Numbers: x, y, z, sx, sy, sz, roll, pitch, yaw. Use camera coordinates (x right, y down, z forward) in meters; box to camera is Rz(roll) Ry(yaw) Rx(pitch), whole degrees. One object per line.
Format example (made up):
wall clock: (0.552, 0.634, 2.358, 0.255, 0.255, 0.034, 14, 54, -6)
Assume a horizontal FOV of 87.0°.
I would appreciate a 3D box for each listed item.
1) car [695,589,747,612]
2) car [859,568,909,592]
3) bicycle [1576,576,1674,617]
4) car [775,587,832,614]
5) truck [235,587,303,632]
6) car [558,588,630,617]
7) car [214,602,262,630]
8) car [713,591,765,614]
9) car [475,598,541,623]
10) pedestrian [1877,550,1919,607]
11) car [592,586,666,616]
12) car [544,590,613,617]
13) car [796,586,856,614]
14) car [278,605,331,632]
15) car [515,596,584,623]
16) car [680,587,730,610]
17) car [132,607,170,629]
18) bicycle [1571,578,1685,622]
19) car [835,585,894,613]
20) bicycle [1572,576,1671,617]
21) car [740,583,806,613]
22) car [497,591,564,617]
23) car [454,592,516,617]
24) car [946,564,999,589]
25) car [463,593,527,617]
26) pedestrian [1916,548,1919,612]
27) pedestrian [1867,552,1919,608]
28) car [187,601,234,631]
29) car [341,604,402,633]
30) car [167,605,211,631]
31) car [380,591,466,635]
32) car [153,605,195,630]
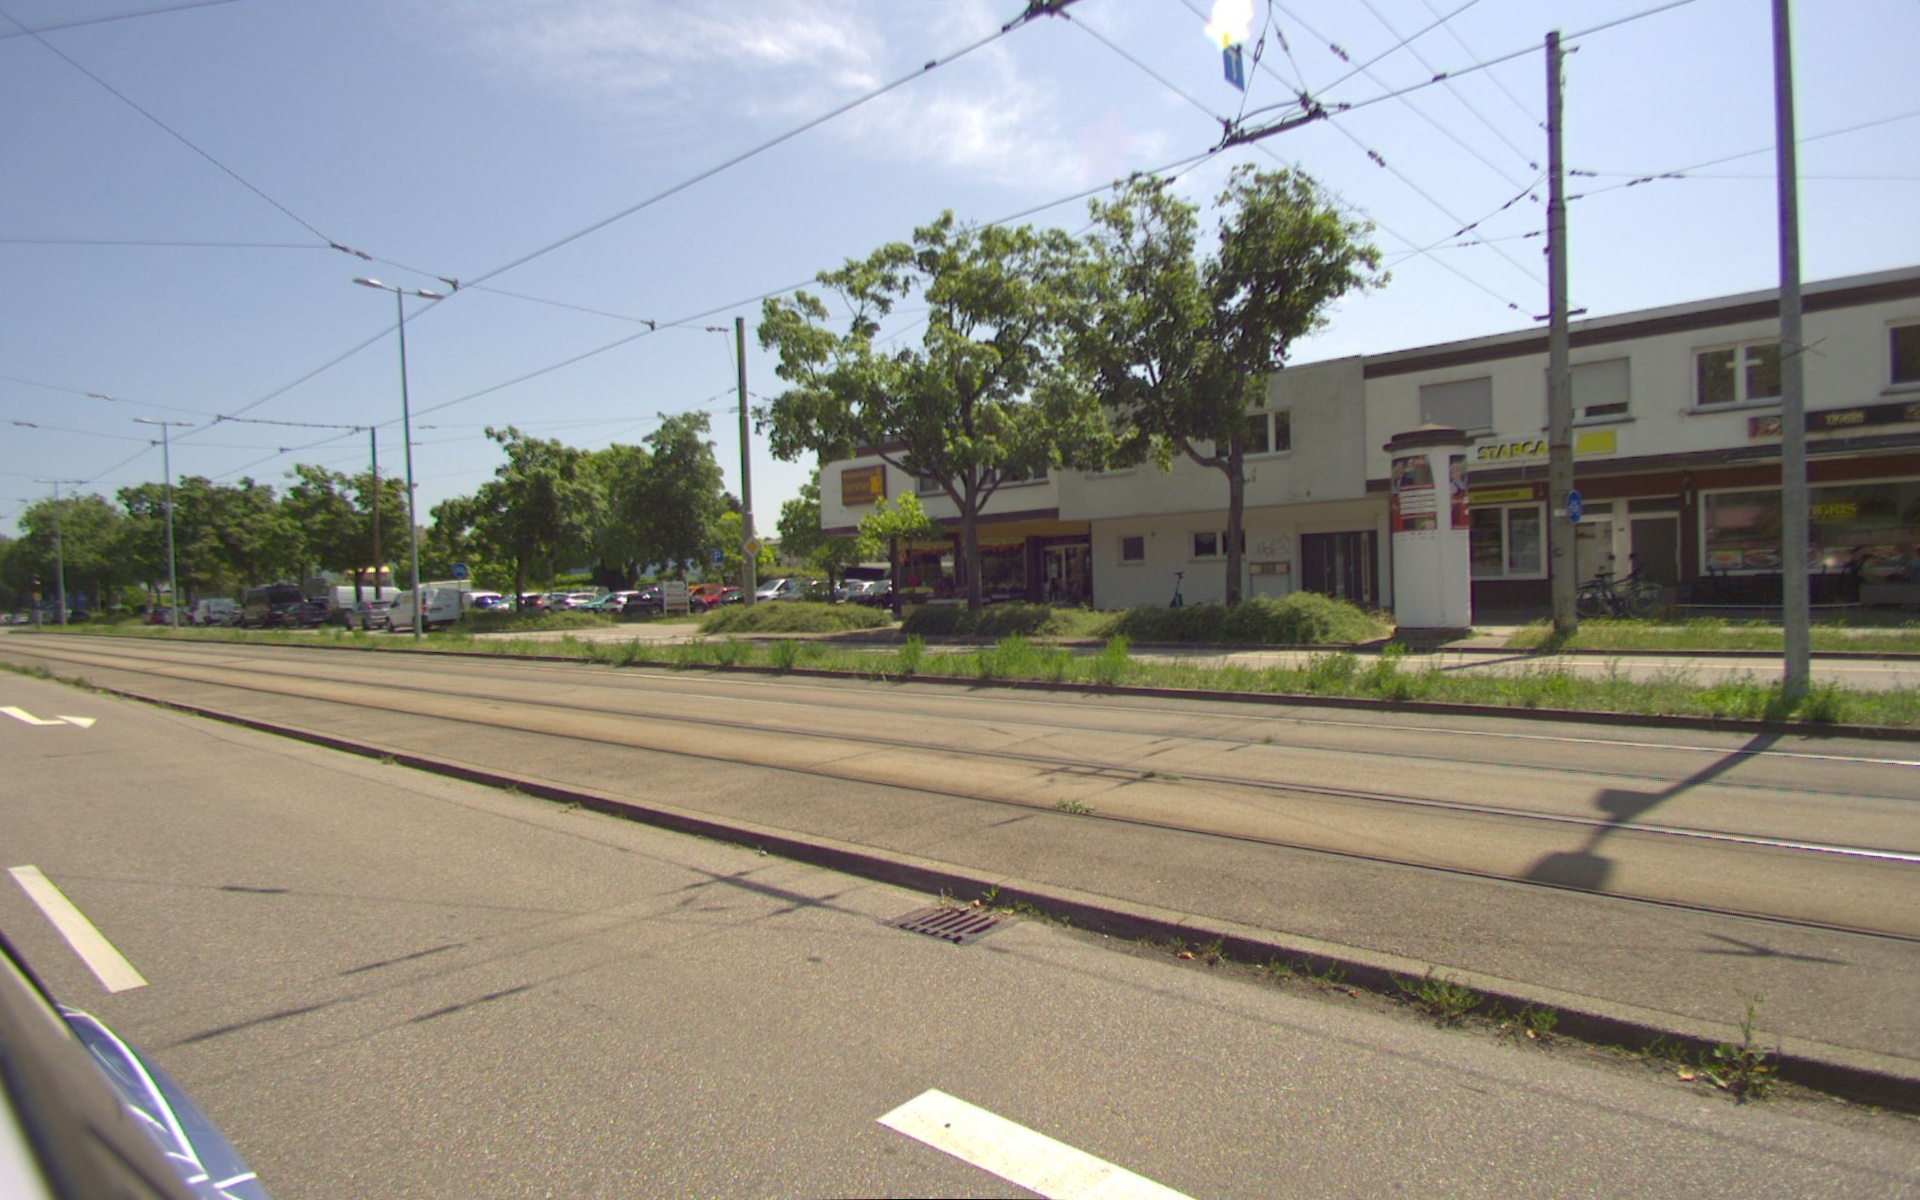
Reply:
car: (-16.833, 0.020, 71.347, 1.504, 1.469, 3.315, -1, 1, 38)
car: (-6.554, -1.740, 87.515, 2.000, 2.029, 3.944, -1, 1, 42)
bicycle: (15.102, -0.072, 23.007, 1.786, 0.854, 0.523, -1, 3, 41)
car: (-9.909, 0.005, 64.133, 1.532, 1.548, 3.450, -1, 1, 38)
truck: (-42.113, 0.599, 61.637, 4.926, 2.560, 2.197, -1, 1, 41)
car: (-20.220, 0.117, 56.000, 1.595, 1.502, 3.375, -1, 1, 35)
car: (-48.213, 1.075, 67.532, 3.866, 1.807, 1.660, -1, 1, 40)
car: (-15.124, 0.151, 69.385, 1.504, 1.400, 3.315, -1, 1, 38)
car: (-27.947, 0.635, 62.656, 1.600, 1.404, 3.375, -1, 1, 35)
pedestrian: (19.838, -0.444, 21.373, 0.674, 1.172, 0.512, -1, 1, 41)
car: (-17.883, 0.059, 54.817, 1.790, 1.502, 3.375, -1, 1, 35)
car: (-21.804, 0.194, 57.892, 1.600, 1.404, 3.375, -1, 1, 35)
car: (-8.169, 0.003, 61.857, 1.622, 1.548, 3.450, -1, 1, 38)
car: (-37.356, 1.059, 57.657, 3.669, 1.397, 1.653, -1, 1, 43)
car: (-23.869, 0.524, 58.935, 1.600, 1.404, 3.375, -1, 1, 35)
car: (-18.488, -0.123, 73.527, 1.504, 1.573, 3.315, -1, 1, 38)
car: (-65.615, 1.464, 82.057, 3.820, 1.716, 1.660, -1, 1, 40)
bicycle: (14.143, 0.010, 21.467, 1.958, 0.854, 0.596, -1, 3, 41)
car: (-5.751, -0.053, 61.123, 1.622, 1.548, 3.450, -1, 1, 38)
bicycle: (14.736, -0.063, 22.576, 1.786, 0.854, 0.523, -1, 3, 41)
car: (-12.051, -0.160, 65.247, 1.811, 1.798, 3.950, -1, 1, 38)
car: (-25.971, 0.246, 61.280, 1.600, 1.404, 3.375, -1, 1, 35)
car: (-31.475, 0.314, 67.107, 1.600, 1.517, 3.375, -1, 1, 35)
car: (0.978, -1.850, 79.167, 2.000, 1.785, 3.944, -1, 1, 42)
car: (-29.822, 0.294, 64.934, 1.600, 1.404, 3.375, -1, 1, 35)
pedestrian: (19.267, -0.406, 19.996, 0.491, 1.248, 0.569, -1, 1, 40)
pedestrian: (19.280, -0.409, 20.885, 0.810, 1.136, 0.558, -1, 1, 41)
car: (-52.609, 1.101, 71.007, 4.506, 1.989, 1.660, -1, 1, 40)
car: (-29.790, 0.931, 51.201, 3.568, 1.397, 1.653, -1, 1, 43)
car: (-56.803, 1.310, 74.507, 4.199, 1.807, 1.660, -1, 1, 40)
car: (-25.023, 0.623, 47.086, 4.659, 1.897, 1.973, -1, 1, 41)
car: (-60.335, 1.381, 77.698, 4.199, 1.807, 1.660, -2, 0, 40)
